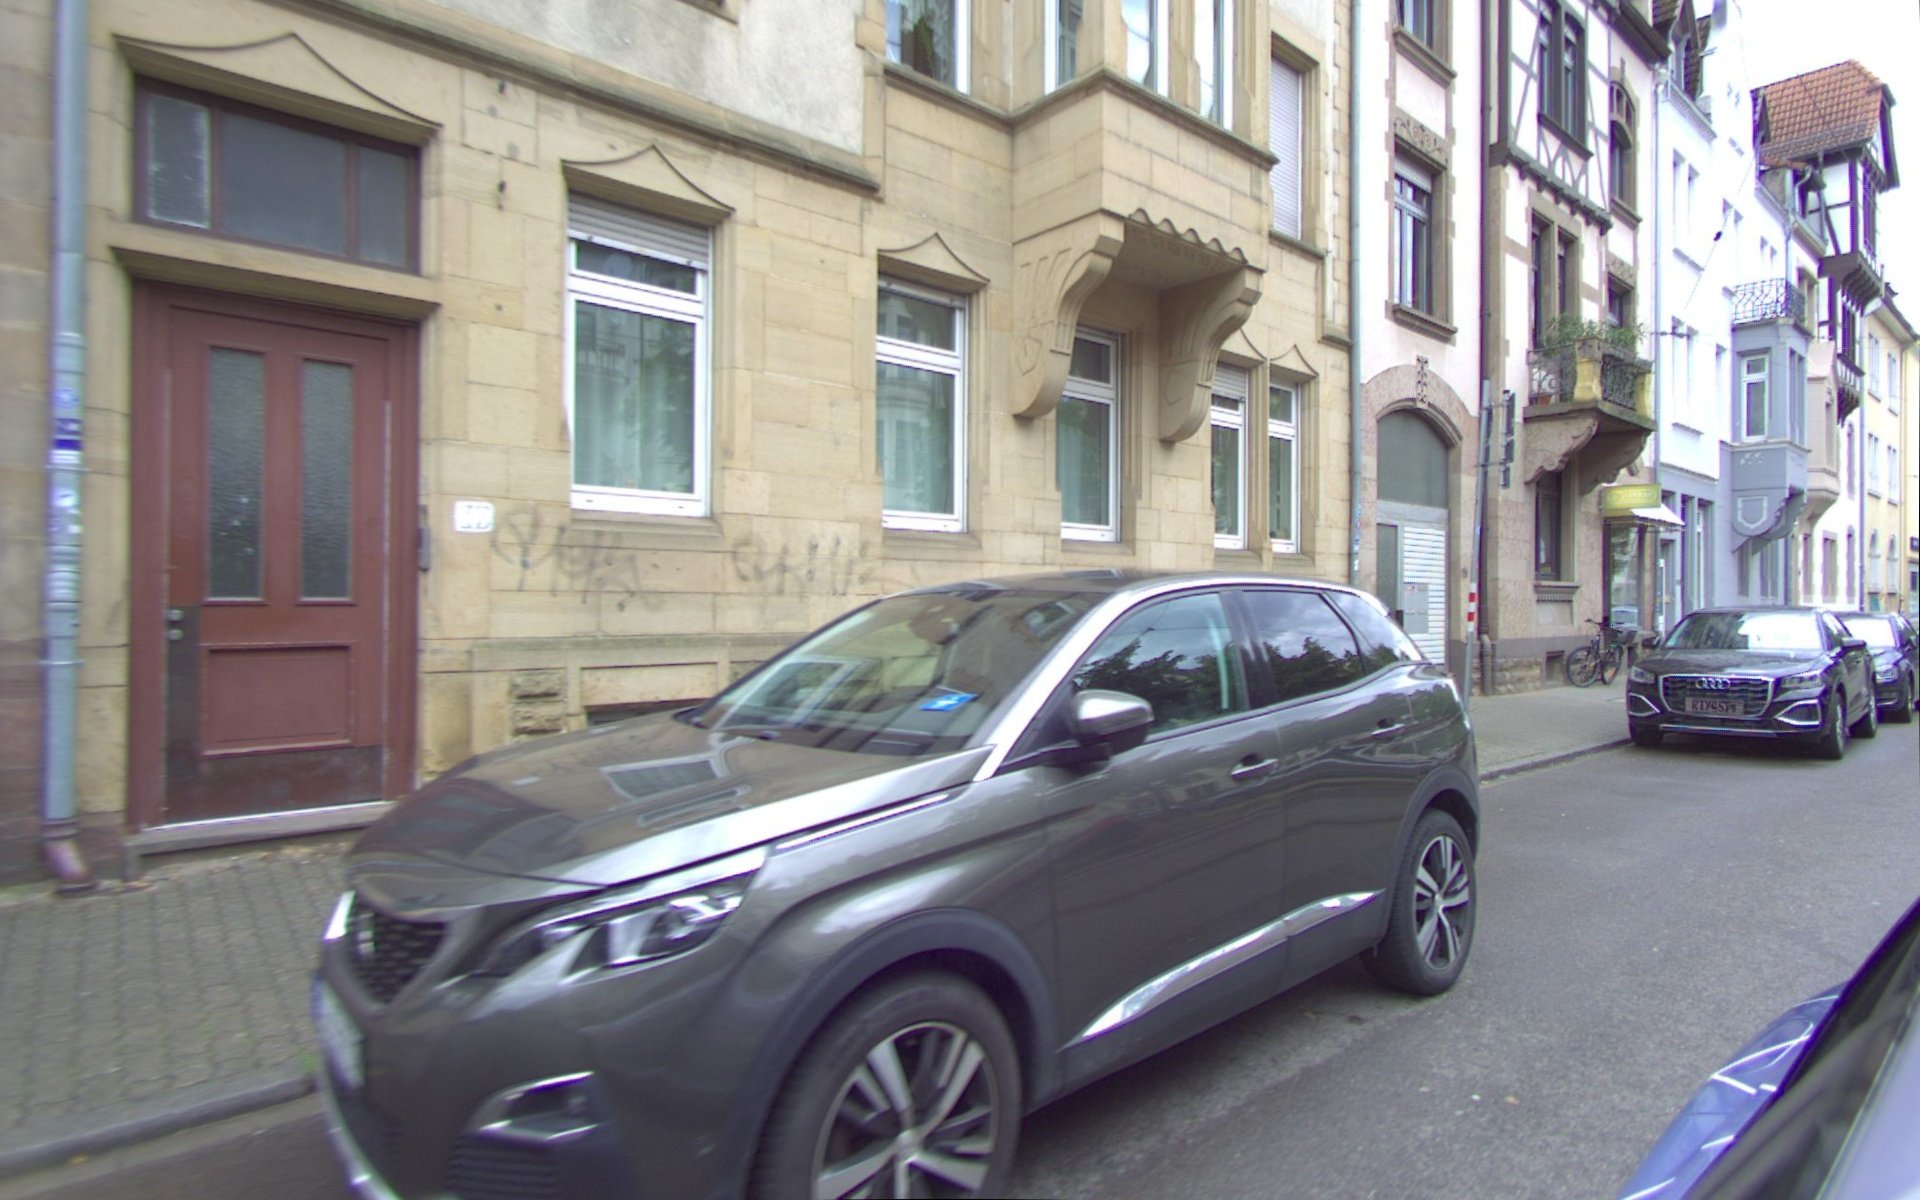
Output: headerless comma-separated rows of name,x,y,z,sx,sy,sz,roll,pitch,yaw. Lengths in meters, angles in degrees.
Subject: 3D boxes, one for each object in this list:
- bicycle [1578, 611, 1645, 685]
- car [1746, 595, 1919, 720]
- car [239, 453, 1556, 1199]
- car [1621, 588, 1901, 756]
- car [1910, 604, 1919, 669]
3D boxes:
bicycle,10.654,0.758,16.537,1.560,1.111,0.422,0,4,-41
car,12.868,0.756,14.500,4.315,1.533,1.700,0,-3,-41
car,0.348,0.626,3.619,4.613,1.643,1.761,0,-1,-42
car,9.080,0.707,11.332,4.344,1.533,1.699,0,-3,-42
car,24.814,0.827,24.706,4.138,1.533,1.792,0,-3,-40
